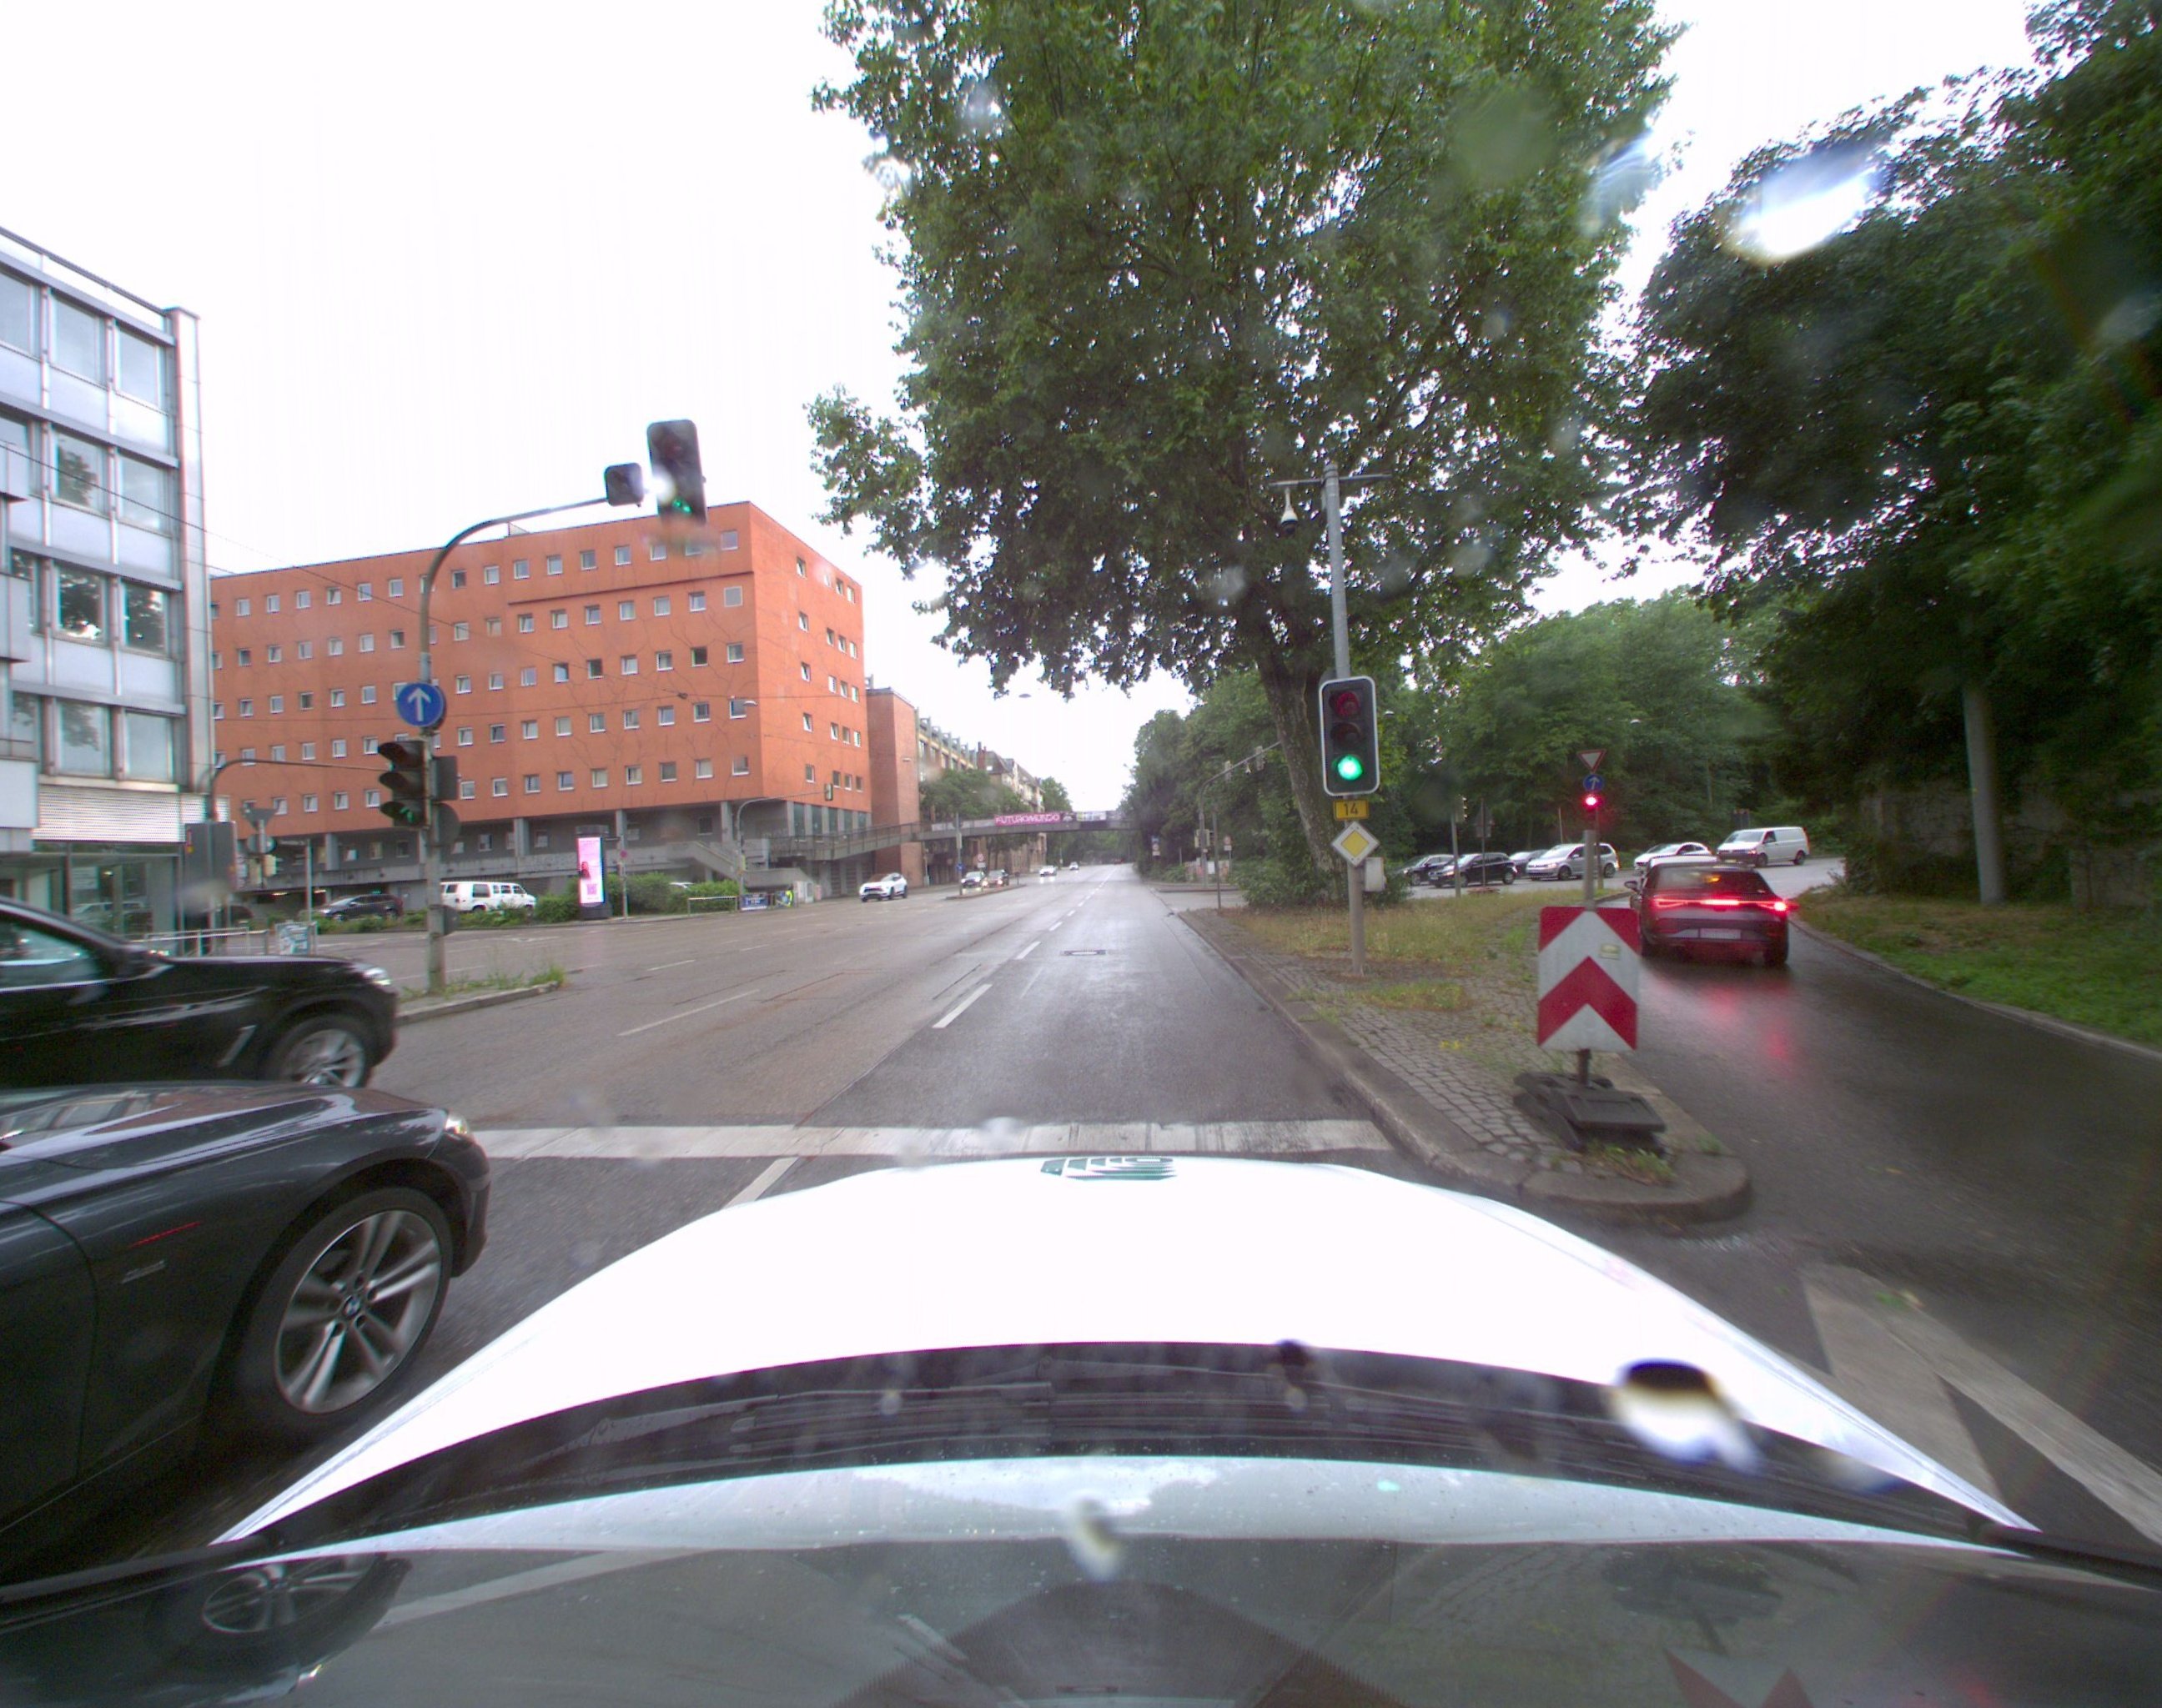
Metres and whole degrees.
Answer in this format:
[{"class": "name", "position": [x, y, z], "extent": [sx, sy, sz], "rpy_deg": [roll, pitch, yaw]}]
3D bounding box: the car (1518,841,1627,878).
[{"class": "car", "position": [22.592, 0.255, 37.503], "extent": [4.203, 1.680, 1.898], "rpy_deg": [0, -1, -14]}]

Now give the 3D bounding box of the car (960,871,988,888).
[{"class": "car", "position": [-9.940, 2.339, 75.996], "extent": [1.701, 1.464, 4.046], "rpy_deg": [-3, -1, 5]}]

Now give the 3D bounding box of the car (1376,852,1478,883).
[{"class": "car", "position": [16.734, 0.627, 39.454], "extent": [4.205, 1.440, 1.941], "rpy_deg": [0, -1, -14]}]

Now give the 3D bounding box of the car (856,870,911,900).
[{"class": "car", "position": [-11.860, 1.857, 49.288], "extent": [1.881, 1.610, 4.461], "rpy_deg": [-3, -1, 4]}]

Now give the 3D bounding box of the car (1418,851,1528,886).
[{"class": "car", "position": [17.153, 0.625, 35.704], "extent": [4.192, 1.460, 1.784], "rpy_deg": [0, -1, -14]}]

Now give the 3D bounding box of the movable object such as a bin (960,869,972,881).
[{"class": "movable object such as a bin", "position": [-15.132, 2.751, 107.327], "extent": [1.277, 1.518, 1.274], "rpy_deg": [-3, -1, 3]}]

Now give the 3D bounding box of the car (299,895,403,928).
[{"class": "car", "position": [-40.269, 3.149, 45.059], "extent": [1.699, 1.612, 4.097], "rpy_deg": [-1, -1, 9]}]

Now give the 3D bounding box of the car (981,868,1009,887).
[{"class": "car", "position": [-7.239, 1.998, 69.134], "extent": [1.676, 1.436, 3.866], "rpy_deg": [-3, -1, 3]}]

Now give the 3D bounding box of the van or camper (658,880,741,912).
[{"class": "van or camper", "position": [-22.346, 2.472, 47.770], "extent": [3.965, 1.627, 1.918], "rpy_deg": [-3, -1, 8]}]

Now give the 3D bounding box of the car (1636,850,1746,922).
[{"class": "car", "position": [14.236, 0.645, 19.197], "extent": [1.834, 1.448, 4.648], "rpy_deg": [2, 1, 35]}]

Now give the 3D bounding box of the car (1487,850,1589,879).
[{"class": "car", "position": [22.920, 0.512, 40.891], "extent": [4.438, 1.402, 1.821], "rpy_deg": [0, -1, -14]}]

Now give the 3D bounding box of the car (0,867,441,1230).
[{"class": "car", "position": [-5.820, 0.894, 3.869], "extent": [1.801, 1.656, 4.449], "rpy_deg": [0, -1, 4]}]

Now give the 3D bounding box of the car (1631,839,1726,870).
[{"class": "car", "position": [28.936, 0.019, 39.455], "extent": [3.857, 1.461, 1.650], "rpy_deg": [0, -1, -14]}]

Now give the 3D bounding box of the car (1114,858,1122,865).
[{"class": "car", "position": [9.979, 2.061, 221.074], "extent": [1.998, 1.643, 4.375], "rpy_deg": [-3, -1, 0]}]

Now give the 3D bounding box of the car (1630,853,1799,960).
[{"class": "car", "position": [9.960, 0.706, 13.113], "extent": [1.731, 1.403, 4.442], "rpy_deg": [1, 0, 33]}]

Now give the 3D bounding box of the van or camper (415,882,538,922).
[{"class": "van or camper", "position": [-32.854, 2.551, 44.527], "extent": [2.113, 1.977, 5.466], "rpy_deg": [-1, -1, 9]}]

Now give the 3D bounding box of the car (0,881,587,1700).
[{"class": "car", "position": [-2.912, 0.846, 0.912], "extent": [1.769, 1.458, 4.480], "rpy_deg": [-3, -1, 3]}]

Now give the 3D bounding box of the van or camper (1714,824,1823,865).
[{"class": "van or camper", "position": [34.867, -0.498, 41.293], "extent": [4.862, 1.947, 1.895], "rpy_deg": [-1, -1, -18]}]

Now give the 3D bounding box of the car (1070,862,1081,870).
[{"class": "car", "position": [-1.016, 2.249, 152.589], "extent": [1.594, 1.499, 3.714], "rpy_deg": [-4, -1, 3]}]

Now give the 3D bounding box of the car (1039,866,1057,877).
[{"class": "car", "position": [-4.307, 2.299, 107.066], "extent": [1.823, 1.393, 4.408], "rpy_deg": [-4, -1, 3]}]
